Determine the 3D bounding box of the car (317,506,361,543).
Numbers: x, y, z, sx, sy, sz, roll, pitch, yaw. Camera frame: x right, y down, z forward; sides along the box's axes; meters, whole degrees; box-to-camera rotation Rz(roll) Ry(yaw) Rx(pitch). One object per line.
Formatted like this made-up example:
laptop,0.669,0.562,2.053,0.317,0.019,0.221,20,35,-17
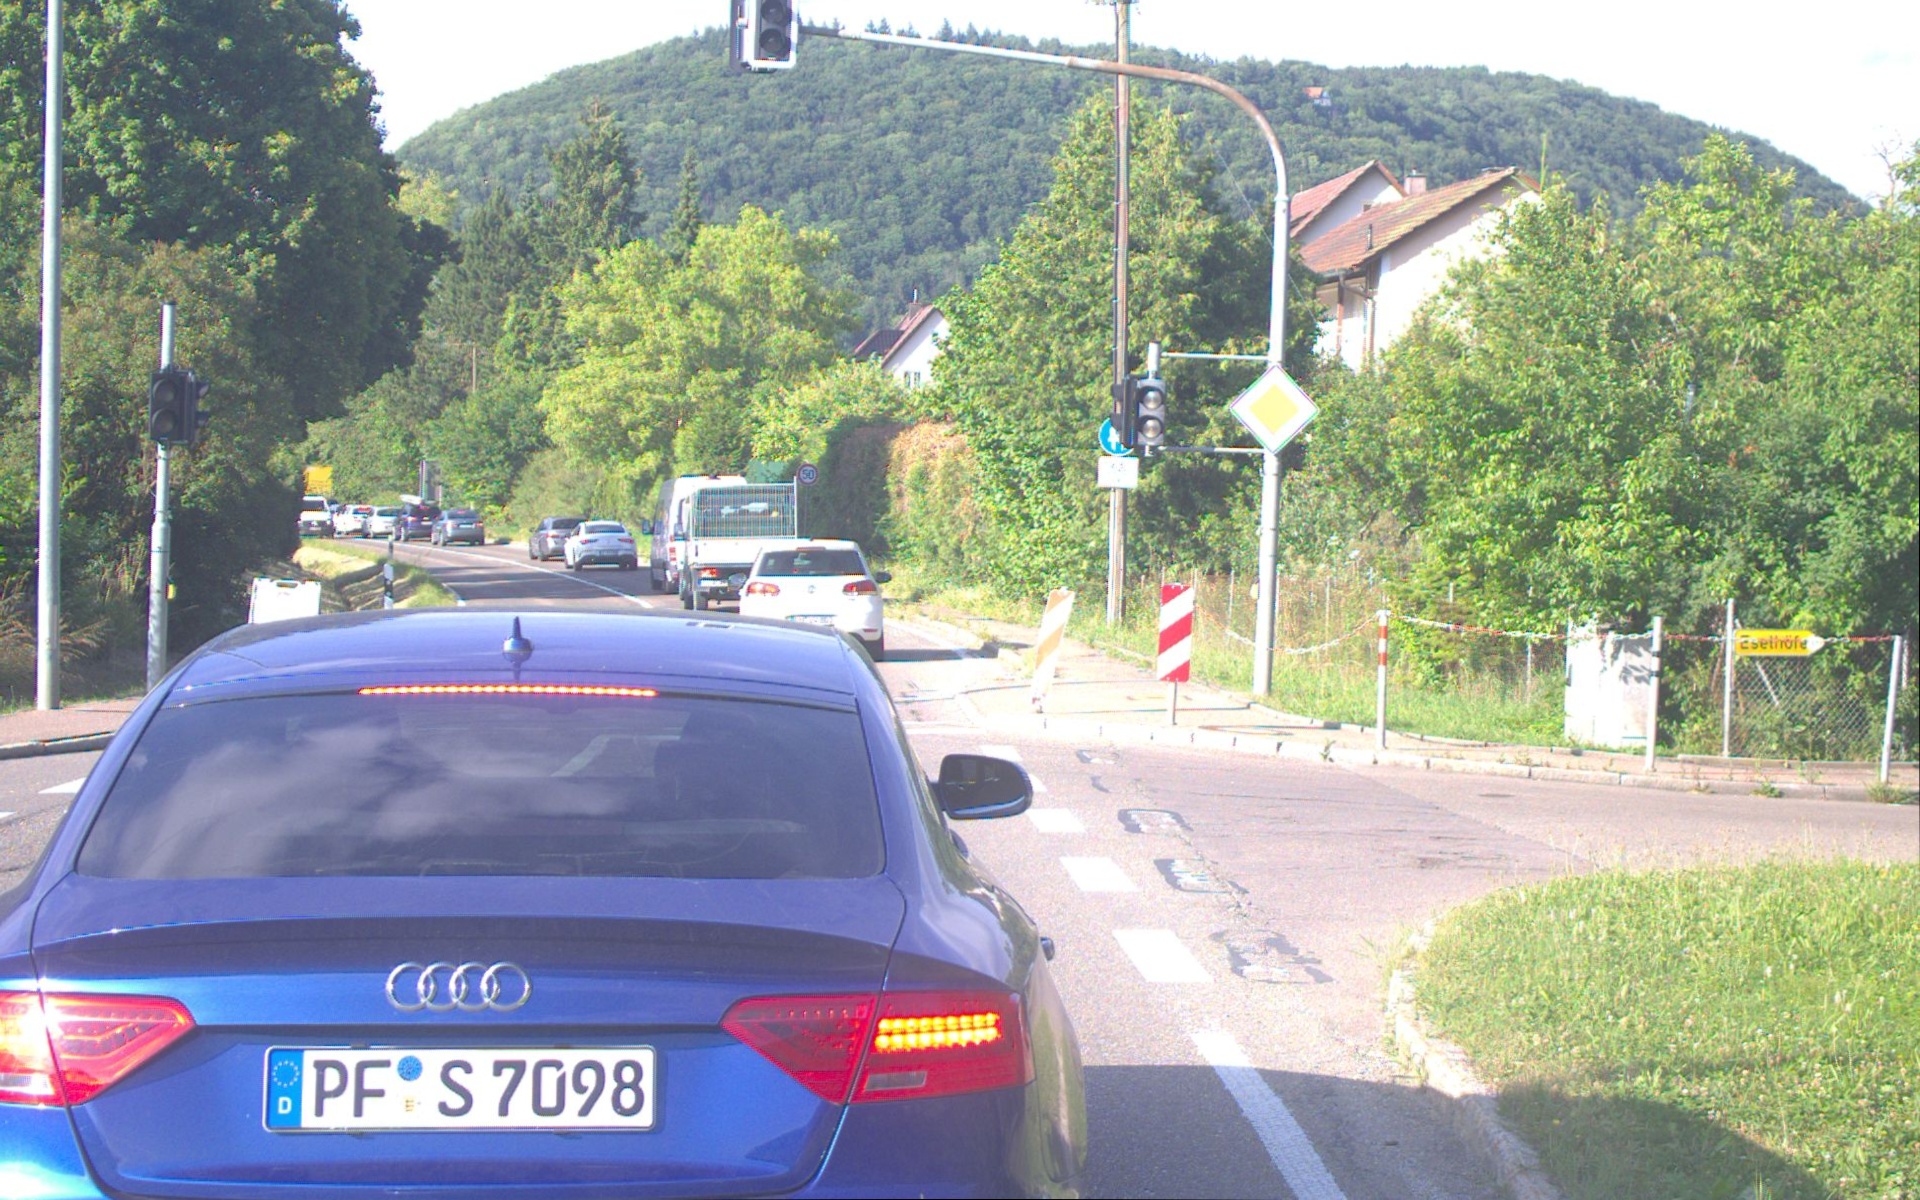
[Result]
car,-30.849,-3.761,170.756,1.771,1.776,4.001,-1,1,-16

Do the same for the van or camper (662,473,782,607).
van or camper,-5.420,-1.381,77.445,2.414,2.894,6.133,0,2,-6

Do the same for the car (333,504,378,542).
car,-29.043,-3.708,165.076,1.748,1.776,4.001,-1,1,-16

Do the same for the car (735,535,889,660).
car,-1.815,-0.072,42.585,1.771,1.410,4.174,2,1,-2

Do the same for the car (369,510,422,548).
car,-25.705,-3.221,156.500,1.941,1.678,4.001,-1,1,-16

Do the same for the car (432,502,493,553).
car,-19.989,-2.923,138.148,1.993,2.007,4.001,0,2,-15

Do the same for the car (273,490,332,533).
car,-29.785,-4.025,155.540,1.993,1.897,5.255,-1,2,-17

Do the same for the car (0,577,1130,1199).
car,-0.778,0.698,6.469,1.829,1.404,4.227,-1,1,-2

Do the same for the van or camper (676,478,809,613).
van or camper,-4.056,-1.033,63.381,2.179,2.377,5.371,0,2,-6

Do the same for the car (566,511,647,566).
car,-10.281,-1.801,99.871,1.819,1.546,4.001,0,2,-14

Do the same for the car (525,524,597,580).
car,-12.955,-1.572,111.535,1.796,1.787,4.001,-1,1,-14

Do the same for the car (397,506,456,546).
car,-22.988,-3.201,147.974,2.040,1.678,4.001,0,2,-16
